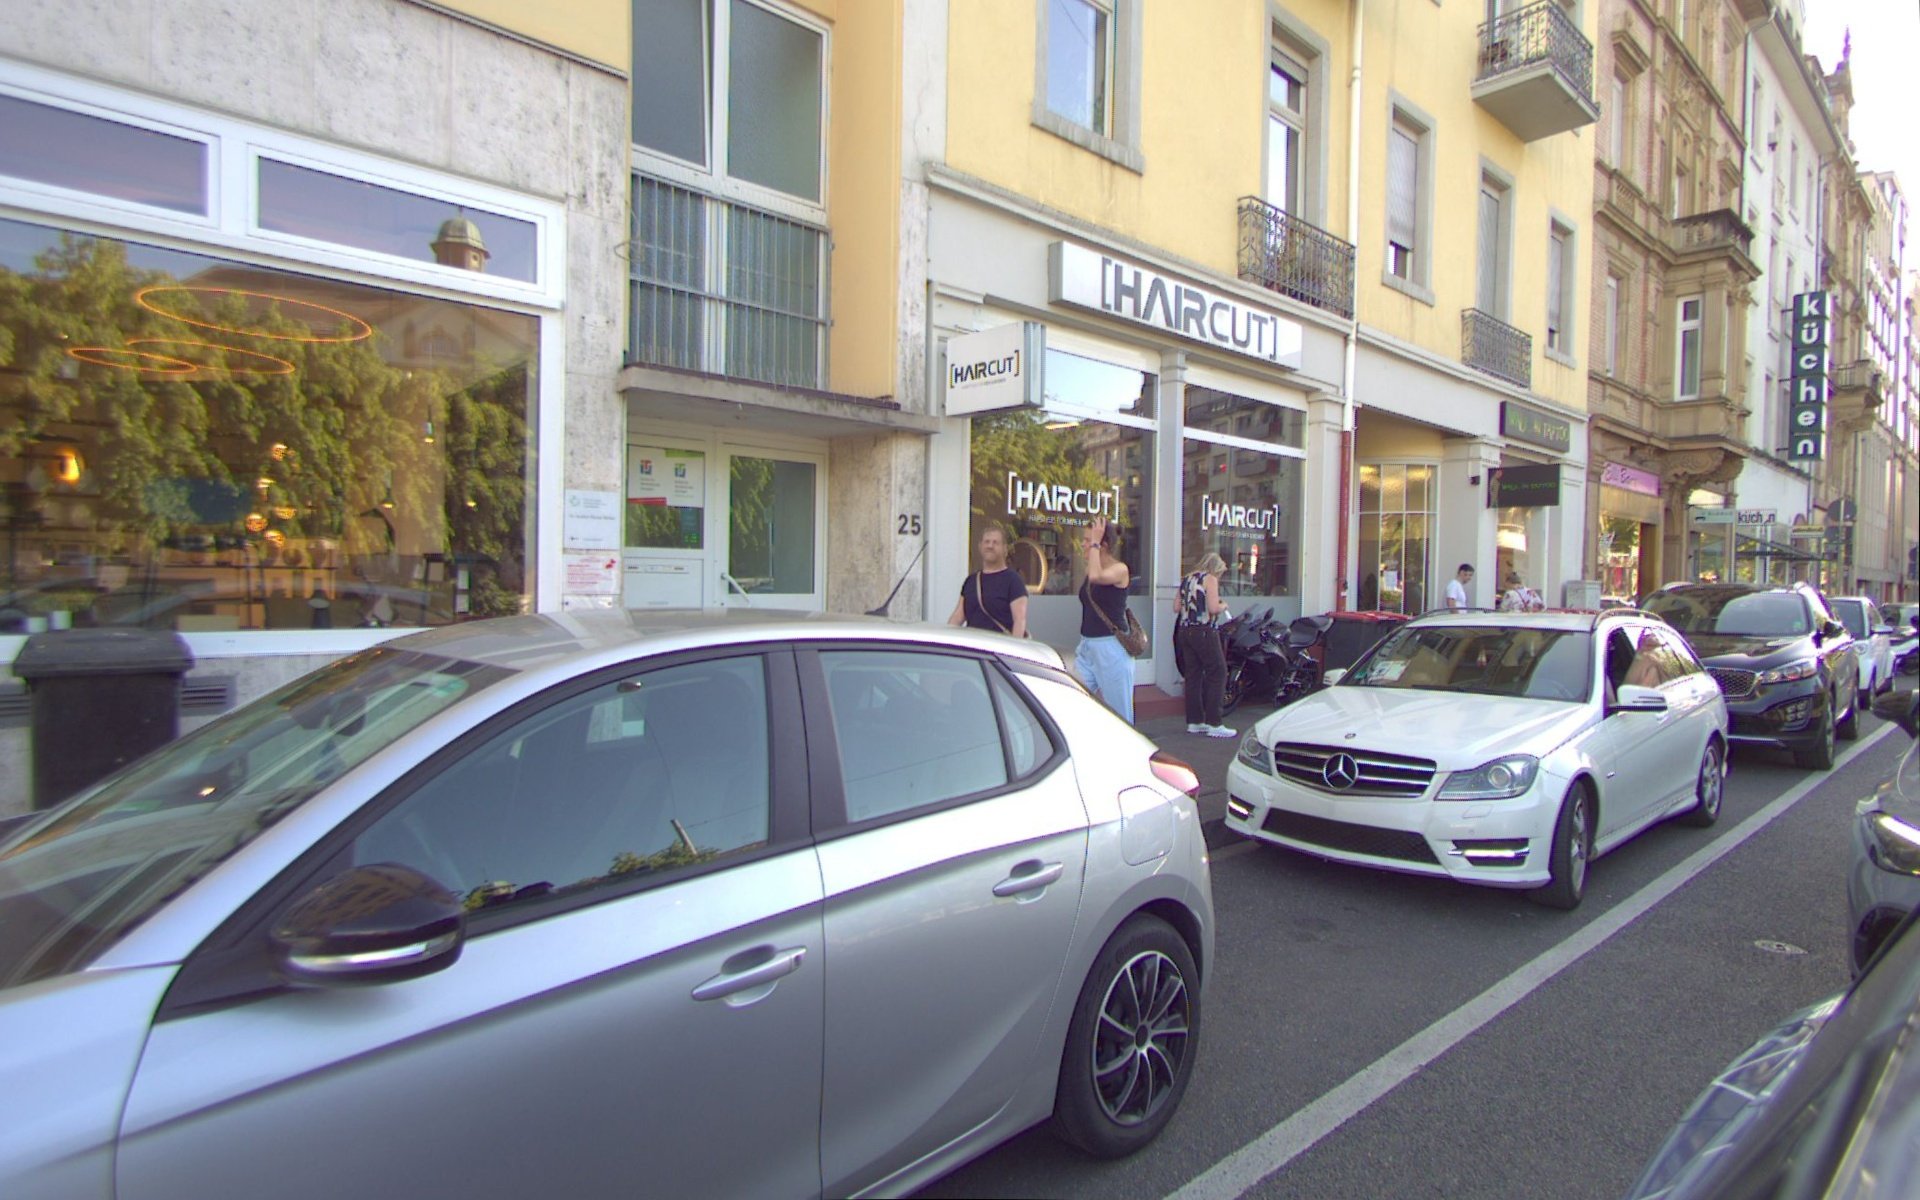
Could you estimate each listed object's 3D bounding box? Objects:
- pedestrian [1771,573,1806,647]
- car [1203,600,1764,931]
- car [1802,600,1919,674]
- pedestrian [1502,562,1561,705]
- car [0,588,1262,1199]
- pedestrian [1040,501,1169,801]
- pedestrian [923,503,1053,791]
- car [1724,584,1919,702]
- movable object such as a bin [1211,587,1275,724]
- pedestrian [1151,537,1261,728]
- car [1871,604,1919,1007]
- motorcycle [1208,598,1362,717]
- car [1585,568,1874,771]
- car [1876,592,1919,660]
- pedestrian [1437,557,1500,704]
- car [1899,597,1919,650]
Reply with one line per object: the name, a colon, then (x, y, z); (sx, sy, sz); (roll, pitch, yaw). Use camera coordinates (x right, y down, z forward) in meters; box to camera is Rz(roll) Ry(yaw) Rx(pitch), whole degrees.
pedestrian: (21.096, 0.245, 25.772); (0.653, 1.874, 0.574); (0, 0, -40)
car: (3.535, 0.713, 6.432); (4.302, 1.376, 1.703); (-1, 0, -41)
car: (18.132, 0.660, 19.967); (4.016, 1.282, 1.800); (-1, 1, -42)
pedestrian: (7.708, 0.432, 13.673); (0.567, 1.874, 0.661); (0, 0, 19)
car: (-0.978, 0.703, 2.259); (3.597, 1.445, 1.549); (-1, 1, -42)
pedestrian: (0.837, 0.283, 6.013); (0.635, 1.686, 0.659); (0, 0, -2)
pedestrian: (0.196, 0.288, 6.750); (0.733, 1.806, 0.565); (1, 0, 18)
car: (13.121, 0.540, 15.307); (4.016, 1.546, 1.800); (-1, 0, -42)
movable object such as a bin: (2.689, 0.508, 9.607); (0.387, 1.253, 0.391); (0, 3, -41)
pedestrian: (2.264, 0.269, 9.342); (0.595, 1.674, 0.719); (0, 3, -40)
car: (5.301, 0.703, 4.193); (3.930, 1.376, 1.801); (-1, 1, -41)
motorcycle: (3.424, 0.547, 10.562); (1.920, 1.091, 0.567); (-1, 4, -41)
car: (8.017, 0.540, 10.387); (4.176, 1.659, 1.799); (-1, 0, -45)
car: (22.233, 0.546, 23.057); (4.016, 1.450, 1.657); (-1, 0, -42)
pedestrian: (7.050, 0.411, 14.027); (0.679, 2.008, 0.375); (1, 1, -18)
car: (26.561, 0.606, 27.086); (3.773, 1.357, 1.800); (-1, 1, -42)
